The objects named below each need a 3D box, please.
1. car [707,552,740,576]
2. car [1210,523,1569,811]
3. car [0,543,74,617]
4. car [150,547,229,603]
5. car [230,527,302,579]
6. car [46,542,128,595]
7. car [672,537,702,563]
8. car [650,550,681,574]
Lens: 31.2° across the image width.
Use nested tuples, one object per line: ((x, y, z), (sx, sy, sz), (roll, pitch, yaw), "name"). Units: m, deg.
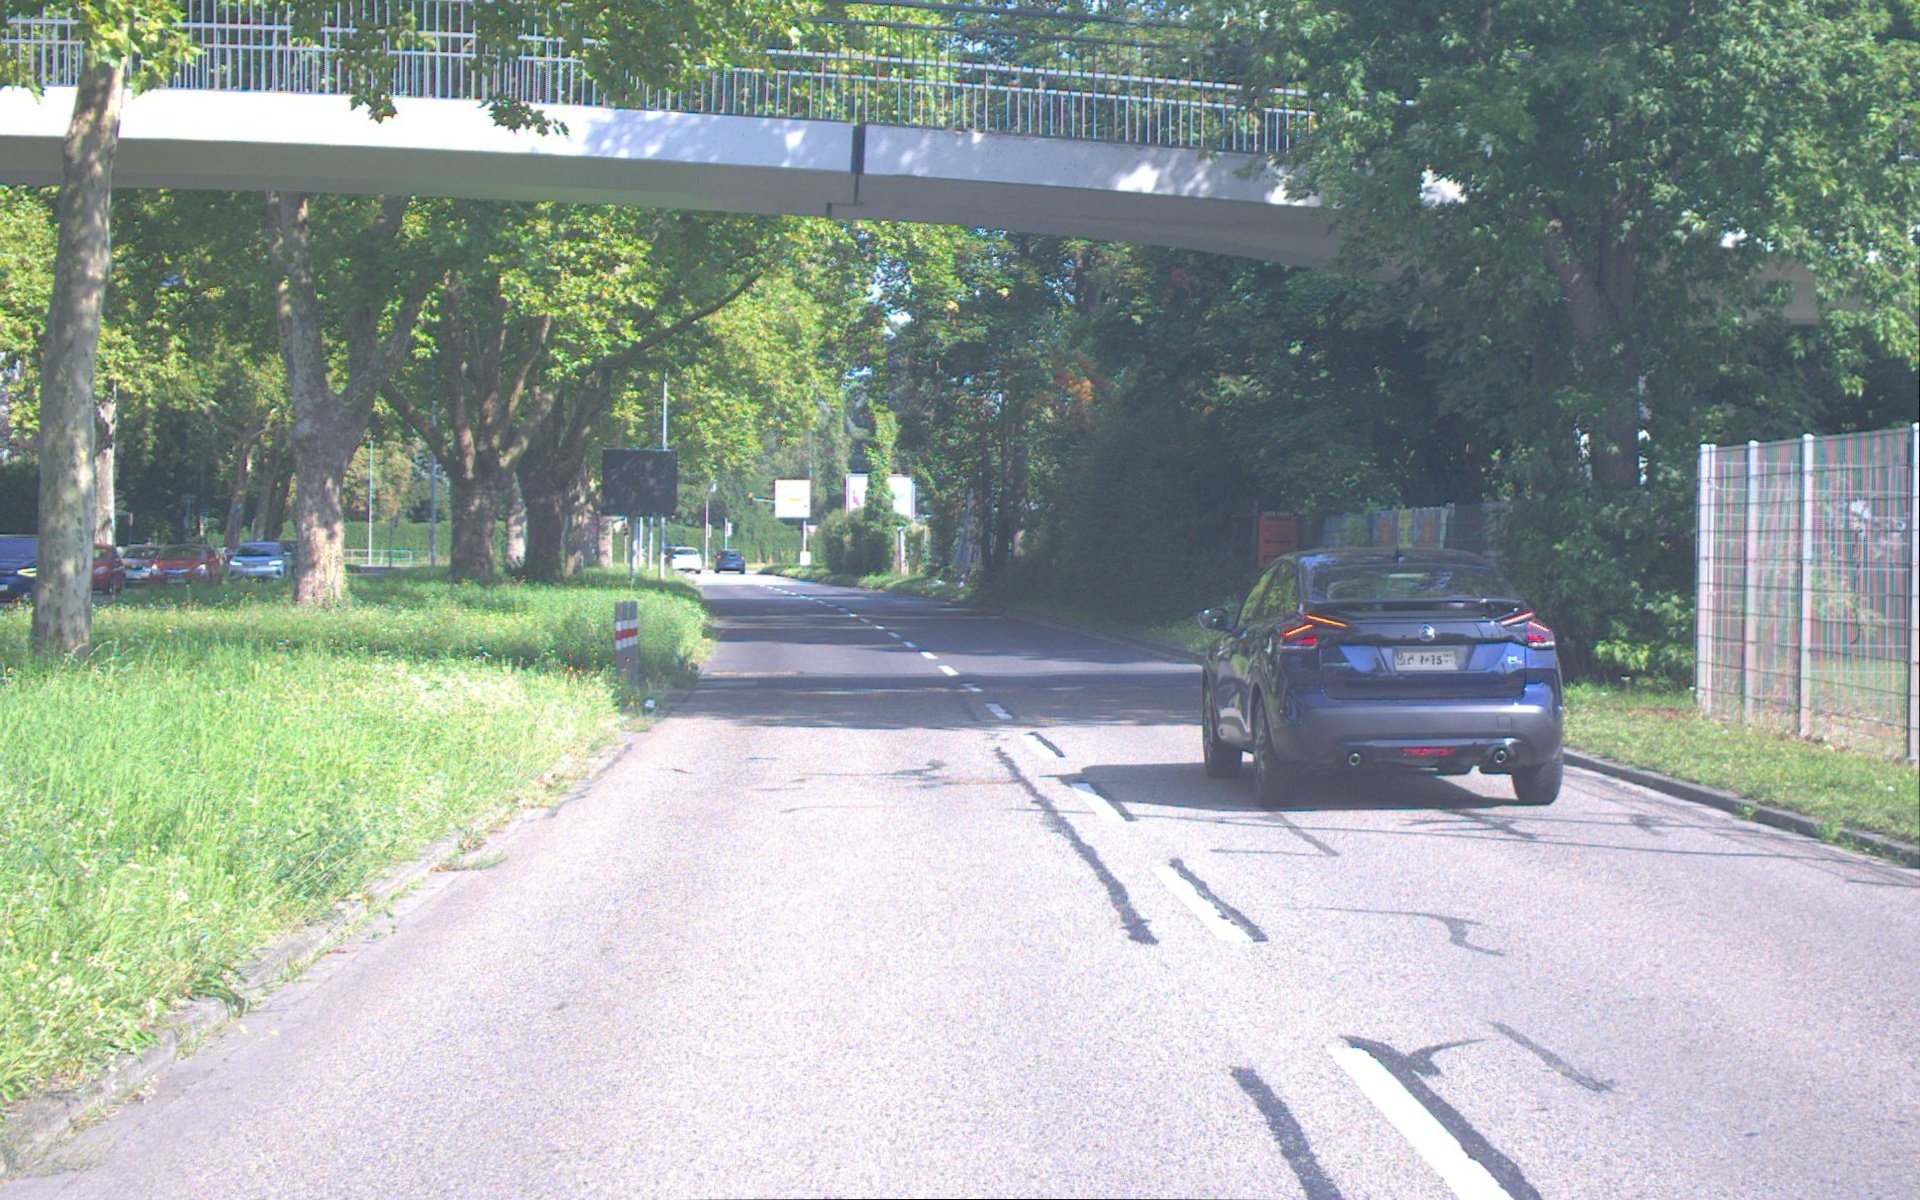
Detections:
((-14.335, -2.160, 208.594), (1.797, 1.396, 4.001), (1, 1, -6), "car")
((2.568, 0.356, 21.448), (1.645, 1.583, 4.255), (1, 1, 0), "car")
((-20.212, -0.451, 73.225), (1.787, 1.527, 4.456), (1, 1, -4), "car")
((-22.102, -0.737, 98.728), (1.690, 1.527, 4.070), (1, 1, -5), "car")
((-23.632, -1.615, 117.246), (1.802, 1.714, 4.720), (0, 1, -4), "car")
((-25.027, -0.915, 98.622), (1.538, 1.446, 4.065), (1, 1, -4), "car")
((-15.629, -2.848, 196.723), (1.687, 1.457, 4.001), (1, 1, -5), "car")
((-18.188, -2.341, 212.443), (1.687, 1.457, 3.850), (1, 1, -2), "car")
